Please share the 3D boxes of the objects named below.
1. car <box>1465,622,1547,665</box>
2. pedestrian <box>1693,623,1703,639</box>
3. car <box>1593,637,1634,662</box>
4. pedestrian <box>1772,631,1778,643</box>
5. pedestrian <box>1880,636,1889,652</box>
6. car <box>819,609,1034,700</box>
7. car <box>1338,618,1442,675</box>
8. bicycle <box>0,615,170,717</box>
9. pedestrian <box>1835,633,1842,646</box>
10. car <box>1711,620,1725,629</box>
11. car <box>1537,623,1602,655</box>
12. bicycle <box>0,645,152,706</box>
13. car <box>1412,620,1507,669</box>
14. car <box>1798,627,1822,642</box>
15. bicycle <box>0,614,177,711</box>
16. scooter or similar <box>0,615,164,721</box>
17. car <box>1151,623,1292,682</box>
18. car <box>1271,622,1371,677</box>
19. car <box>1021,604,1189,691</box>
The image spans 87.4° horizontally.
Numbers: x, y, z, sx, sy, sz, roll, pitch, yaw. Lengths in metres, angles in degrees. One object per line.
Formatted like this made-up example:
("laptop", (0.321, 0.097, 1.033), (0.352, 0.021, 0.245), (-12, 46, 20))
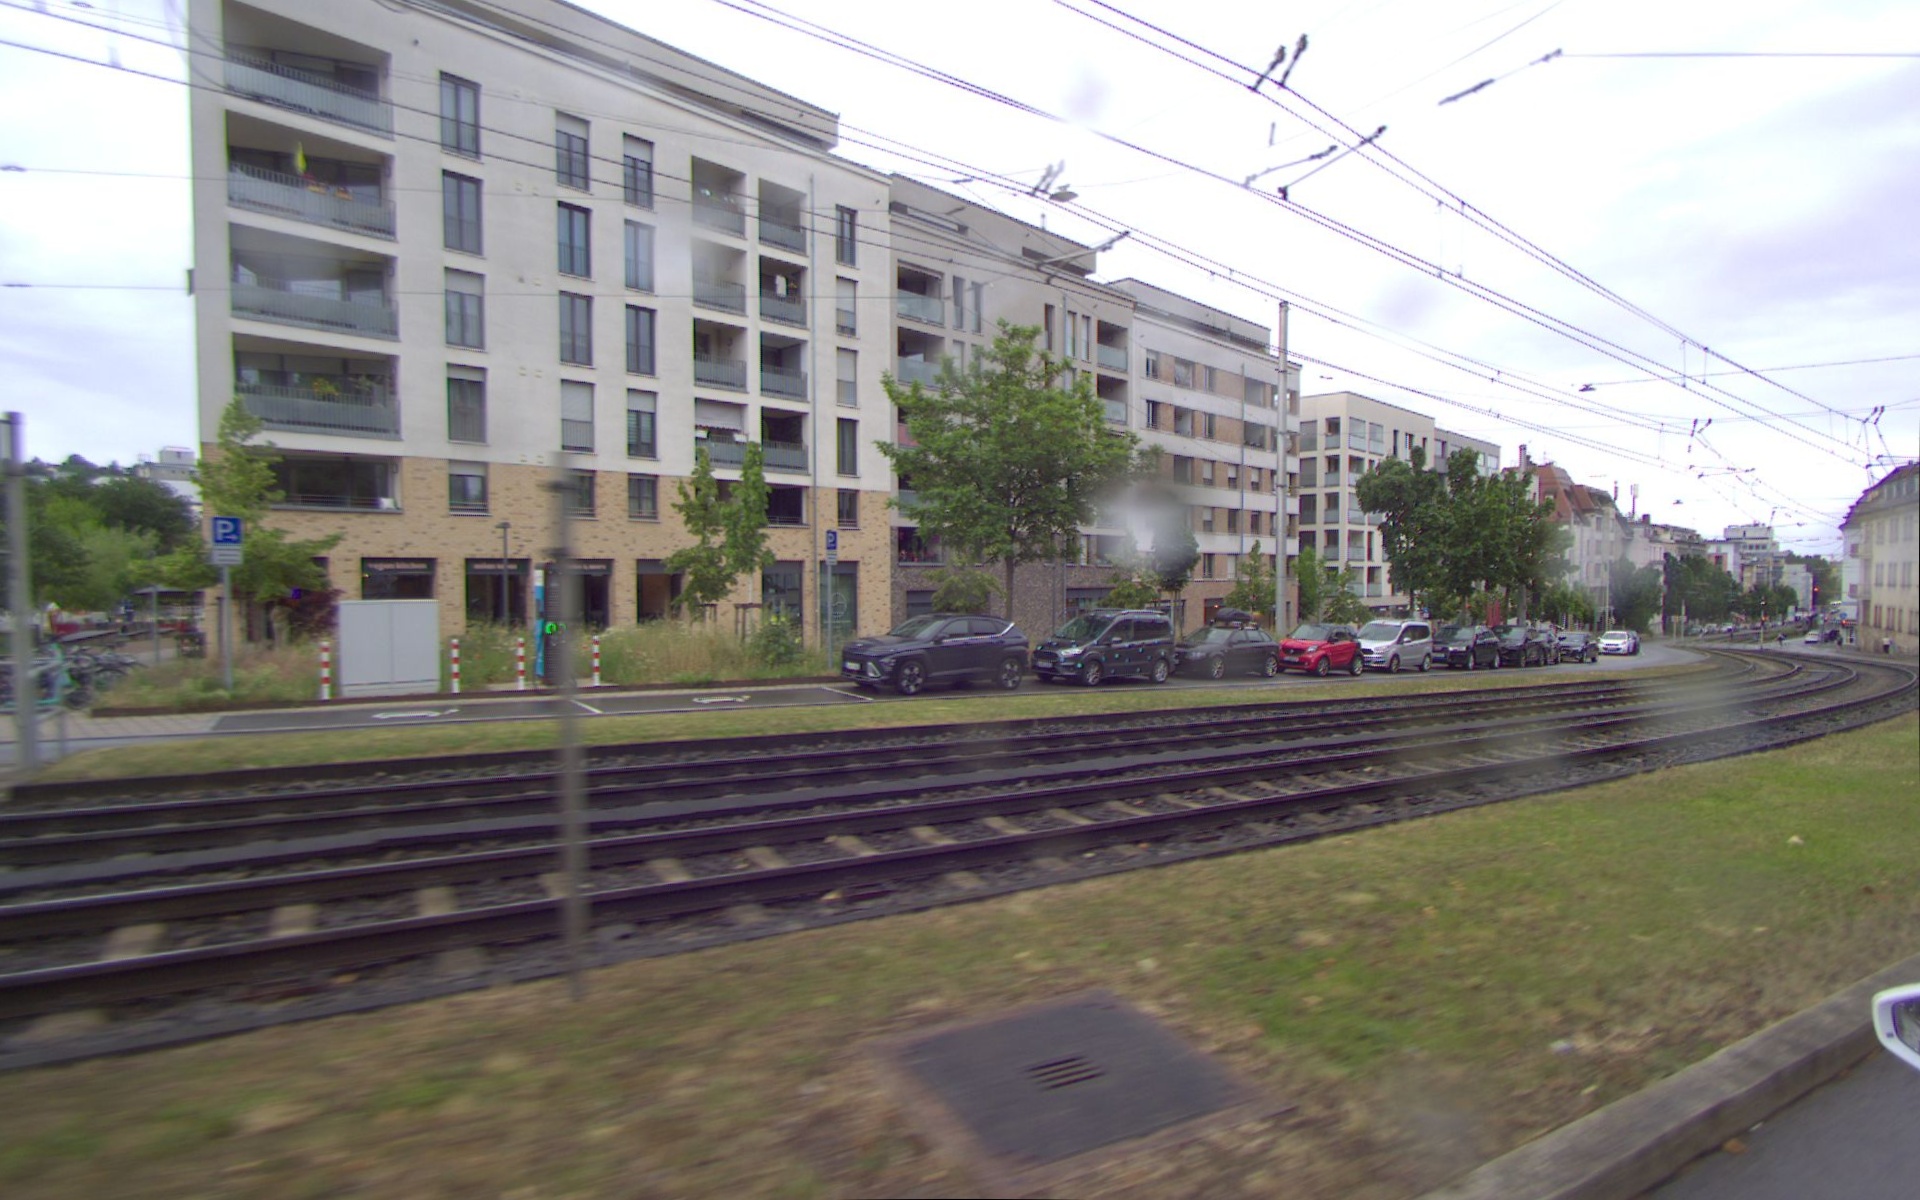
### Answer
("car", (22.641, 1.754, 41.570), (1.784, 1.604, 4.669), (1, 0, 45))
("pedestrian", (91.285, 3.872, 124.306), (0.891, 1.957, 0.824), (1, 0, 30))
("car", (42.074, 3.149, 64.668), (1.745, 1.498, 3.716), (0, -1, 41))
("pedestrian", (92.828, 4.209, 114.379), (0.503, 1.333, 0.504), (0, 0, 36))
("pedestrian", (79.350, 3.760, 86.178), (0.497, 1.333, 0.509), (0, 0, 34))
("car", (-0.658, 1.085, 21.250), (4.180, 1.626, 1.977), (1, 2, -40))
("car", (14.585, 1.525, 33.991), (4.226, 1.771, 1.647), (1, 0, -43))
("bicycle", (-14.744, 1.074, 16.800), (2.336, 1.617, 0.671), (1, 0, -34))
("pedestrian", (93.418, 4.163, 106.766), (0.503, 1.333, 0.504), (0, 0, 36))
("car", (143.786, 4.632, 190.582), (1.969, 1.684, 3.983), (1, 0, 38))
("car", (30.021, 1.898, 49.415), (1.944, 1.450, 4.176), (1, 0, 42))
("bicycle", (-16.820, 1.418, 19.099), (2.203, 1.061, 0.472), (0, 0, -30))
("car", (18.726, 1.631, 37.559), (4.499, 1.666, 1.715), (1, 0, -43))
("car", (106.675, 4.294, 126.034), (1.973, 1.795, 3.975), (1, 0, 44))
("bicycle", (-15.292, 1.064, 17.673), (2.336, 1.617, 0.671), (1, 0, -34))
("scooter or similar", (-14.299, 1.060, 16.107), (2.336, 1.617, 0.596), (1, 0, -34))
("car", (7.368, 1.420, 28.096), (4.363, 1.467, 1.537), (1, 1, -40))
("car", (11.034, 1.478, 30.669), (2.903, 1.551, 1.459), (1, 1, -36))
("car", (3.603, 1.105, 24.483), (4.297, 1.884, 1.568), (1, 1, -40))
